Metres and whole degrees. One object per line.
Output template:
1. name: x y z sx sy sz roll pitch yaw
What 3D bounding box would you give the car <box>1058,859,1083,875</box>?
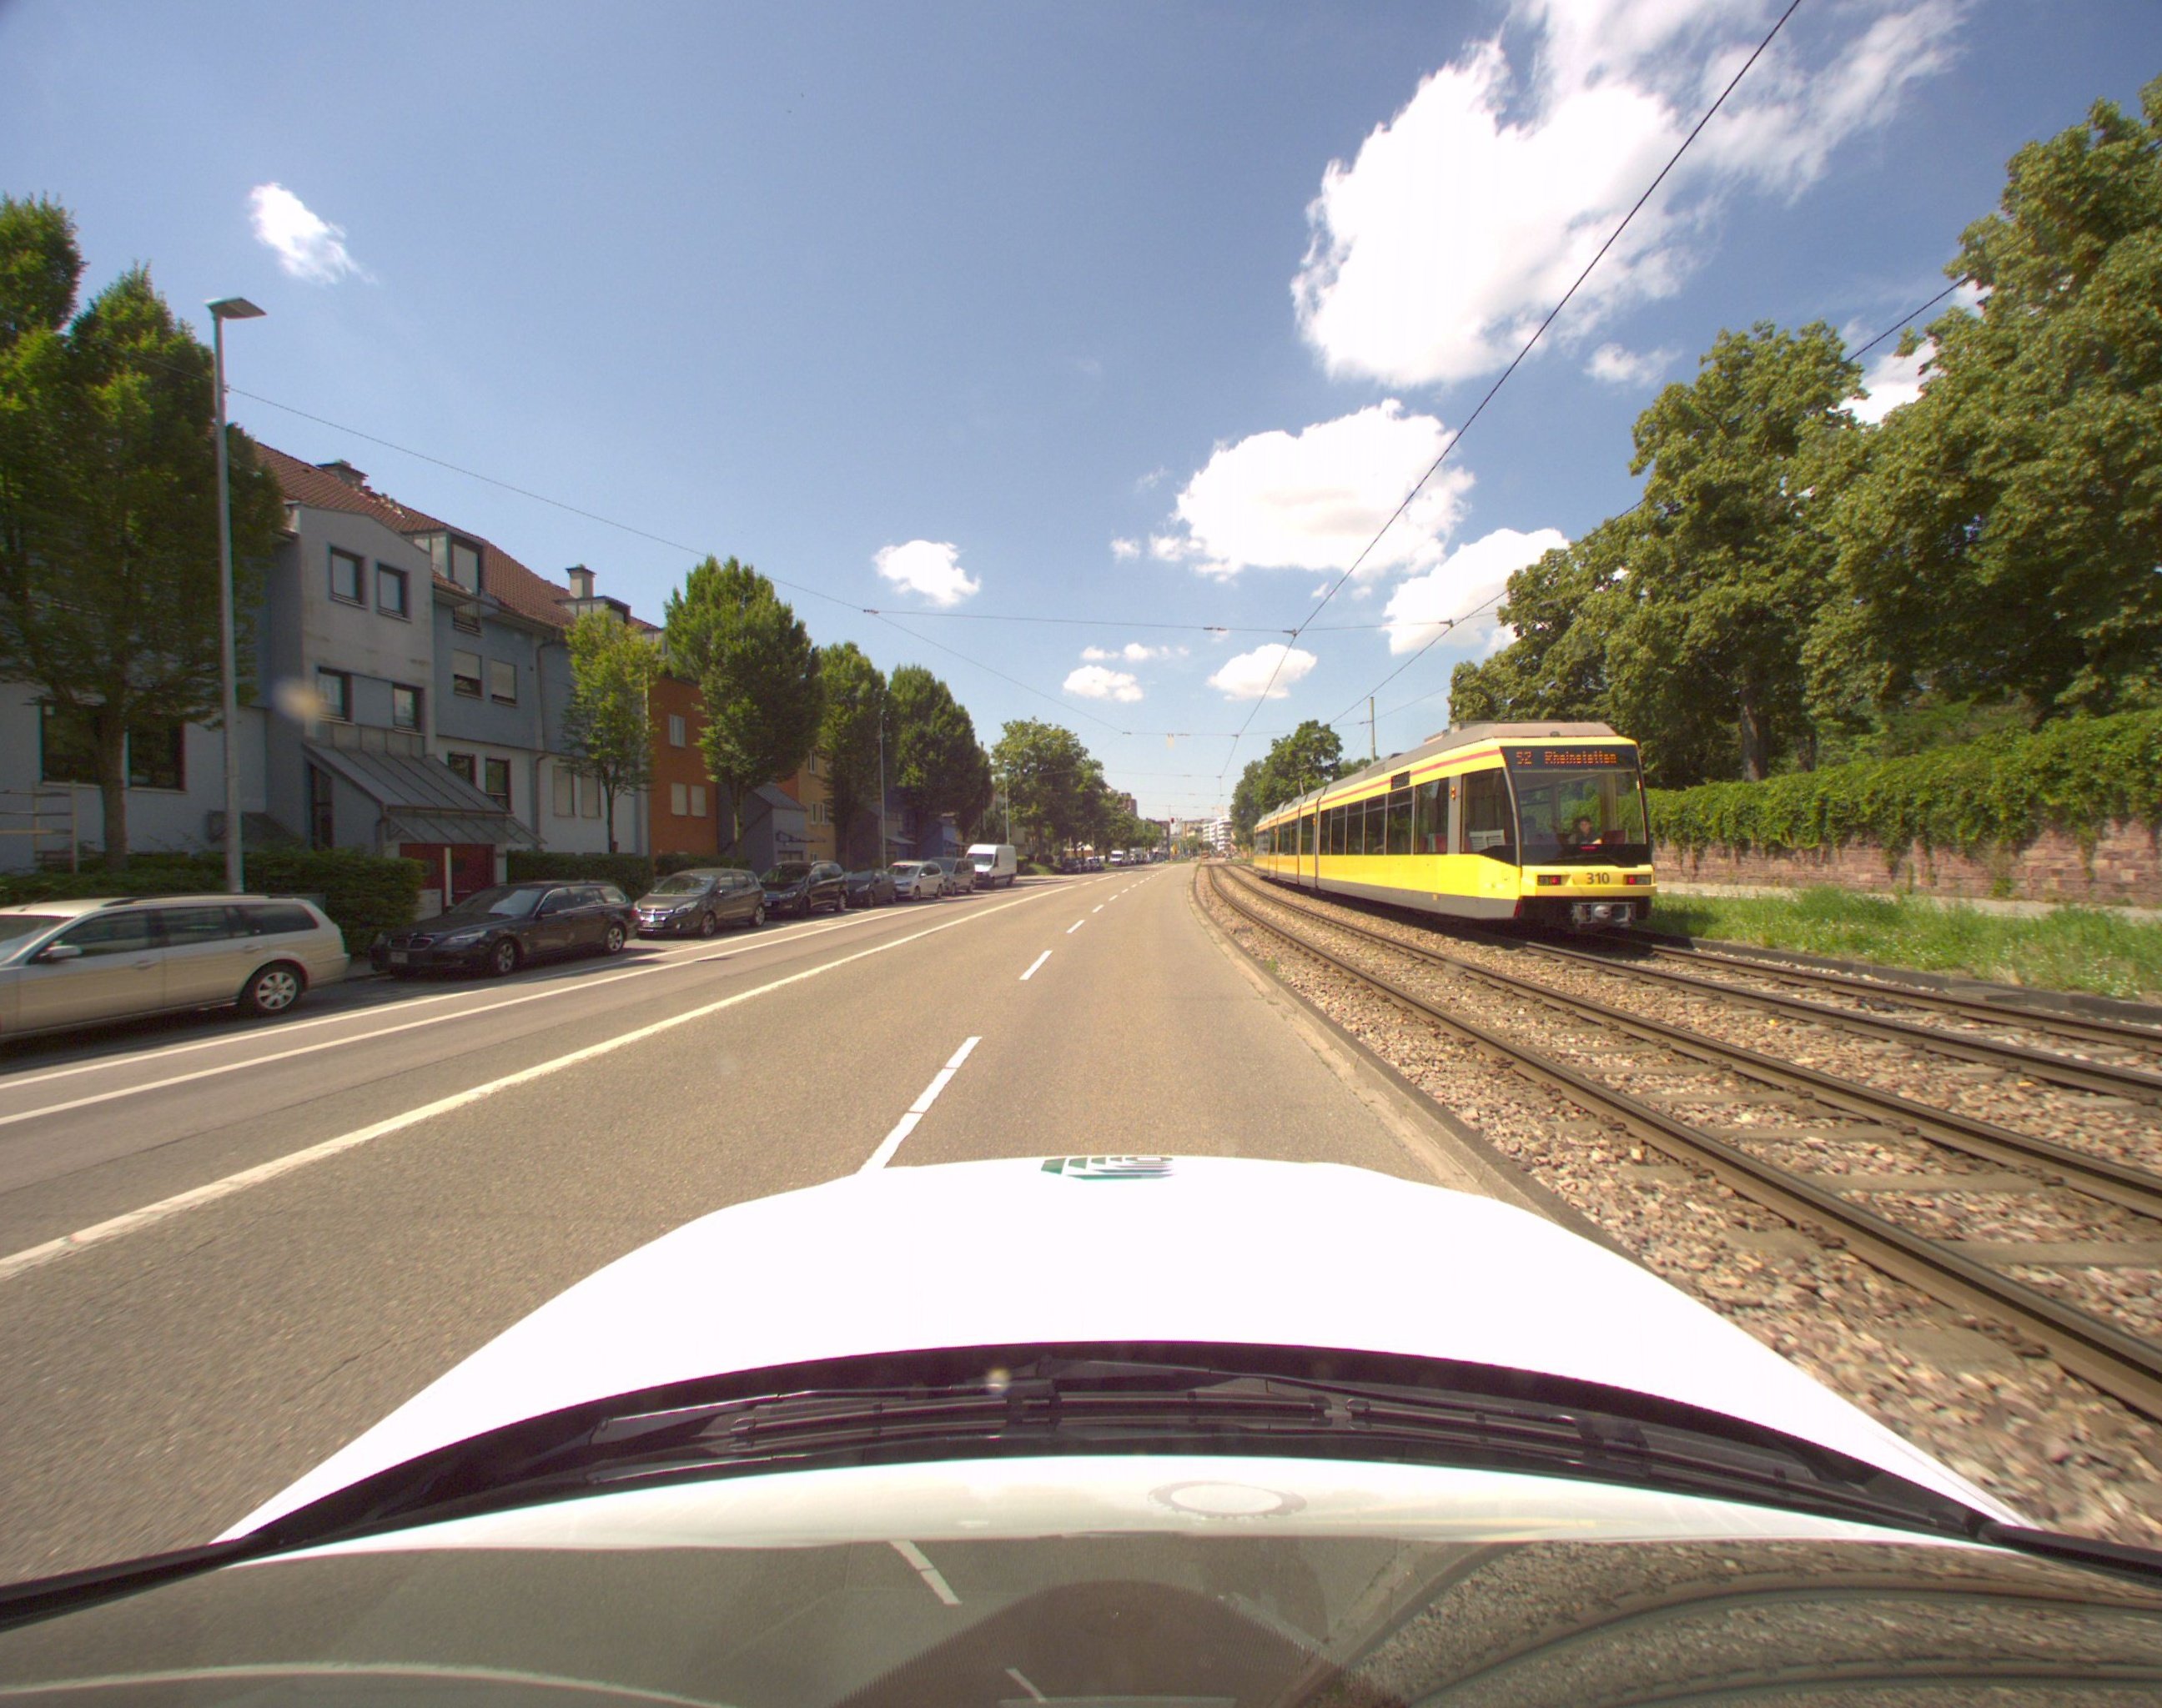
1. car: -0.977 1.285 80.573 1.765 1.456 4.814 -1 0 7

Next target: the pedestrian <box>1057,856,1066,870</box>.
1. pedestrian: -2.499 1.124 104.026 0.969 1.823 0.796 -2 -1 6

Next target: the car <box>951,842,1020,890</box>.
1. car: -5.782 0.673 50.524 2.310 2.651 7.053 2 0 9

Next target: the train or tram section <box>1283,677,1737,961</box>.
1. train or tram section: 7.882 -0.452 19.863 2.929 3.692 18.415 -1 0 5

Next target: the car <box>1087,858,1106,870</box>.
1. car: 1.842 1.199 98.505 1.764 1.481 4.057 0 0 9

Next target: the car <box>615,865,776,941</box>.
1. car: -9.570 1.141 20.648 1.647 1.617 4.292 -2 0 5

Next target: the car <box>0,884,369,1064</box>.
1. car: -10.699 1.198 8.673 1.648 1.508 4.901 -2 0 4

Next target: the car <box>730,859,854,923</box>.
1. car: -8.996 1.083 25.857 1.742 1.716 4.895 -2 0 6

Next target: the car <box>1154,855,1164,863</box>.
1. car: 15.761 1.066 164.831 1.765 1.460 4.203 -3 0 7

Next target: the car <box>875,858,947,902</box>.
1. car: -7.536 1.098 36.592 1.708 1.752 4.911 -2 0 6

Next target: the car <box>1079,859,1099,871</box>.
1. car: 0.942 1.267 93.716 1.765 1.373 4.706 0 0 7

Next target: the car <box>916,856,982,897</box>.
1. car: -6.748 1.107 42.253 1.796 1.895 5.374 -2 0 8

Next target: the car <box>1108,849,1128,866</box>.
1. car: 5.876 0.545 128.095 2.143 2.487 6.212 1 0 11

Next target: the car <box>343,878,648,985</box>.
1. car: -10.106 1.234 14.666 1.733 1.446 4.831 0 0 4

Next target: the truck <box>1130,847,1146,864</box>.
1. truck: 10.928 0.247 155.885 2.143 3.210 7.104 1 0 11

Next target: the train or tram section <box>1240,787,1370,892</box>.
1. train or tram section: 9.908 -0.502 39.010 2.928 3.692 20.321 -1 0 7

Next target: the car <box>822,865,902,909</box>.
1. car: -8.379 1.229 31.523 1.590 1.471 4.094 -2 0 6
